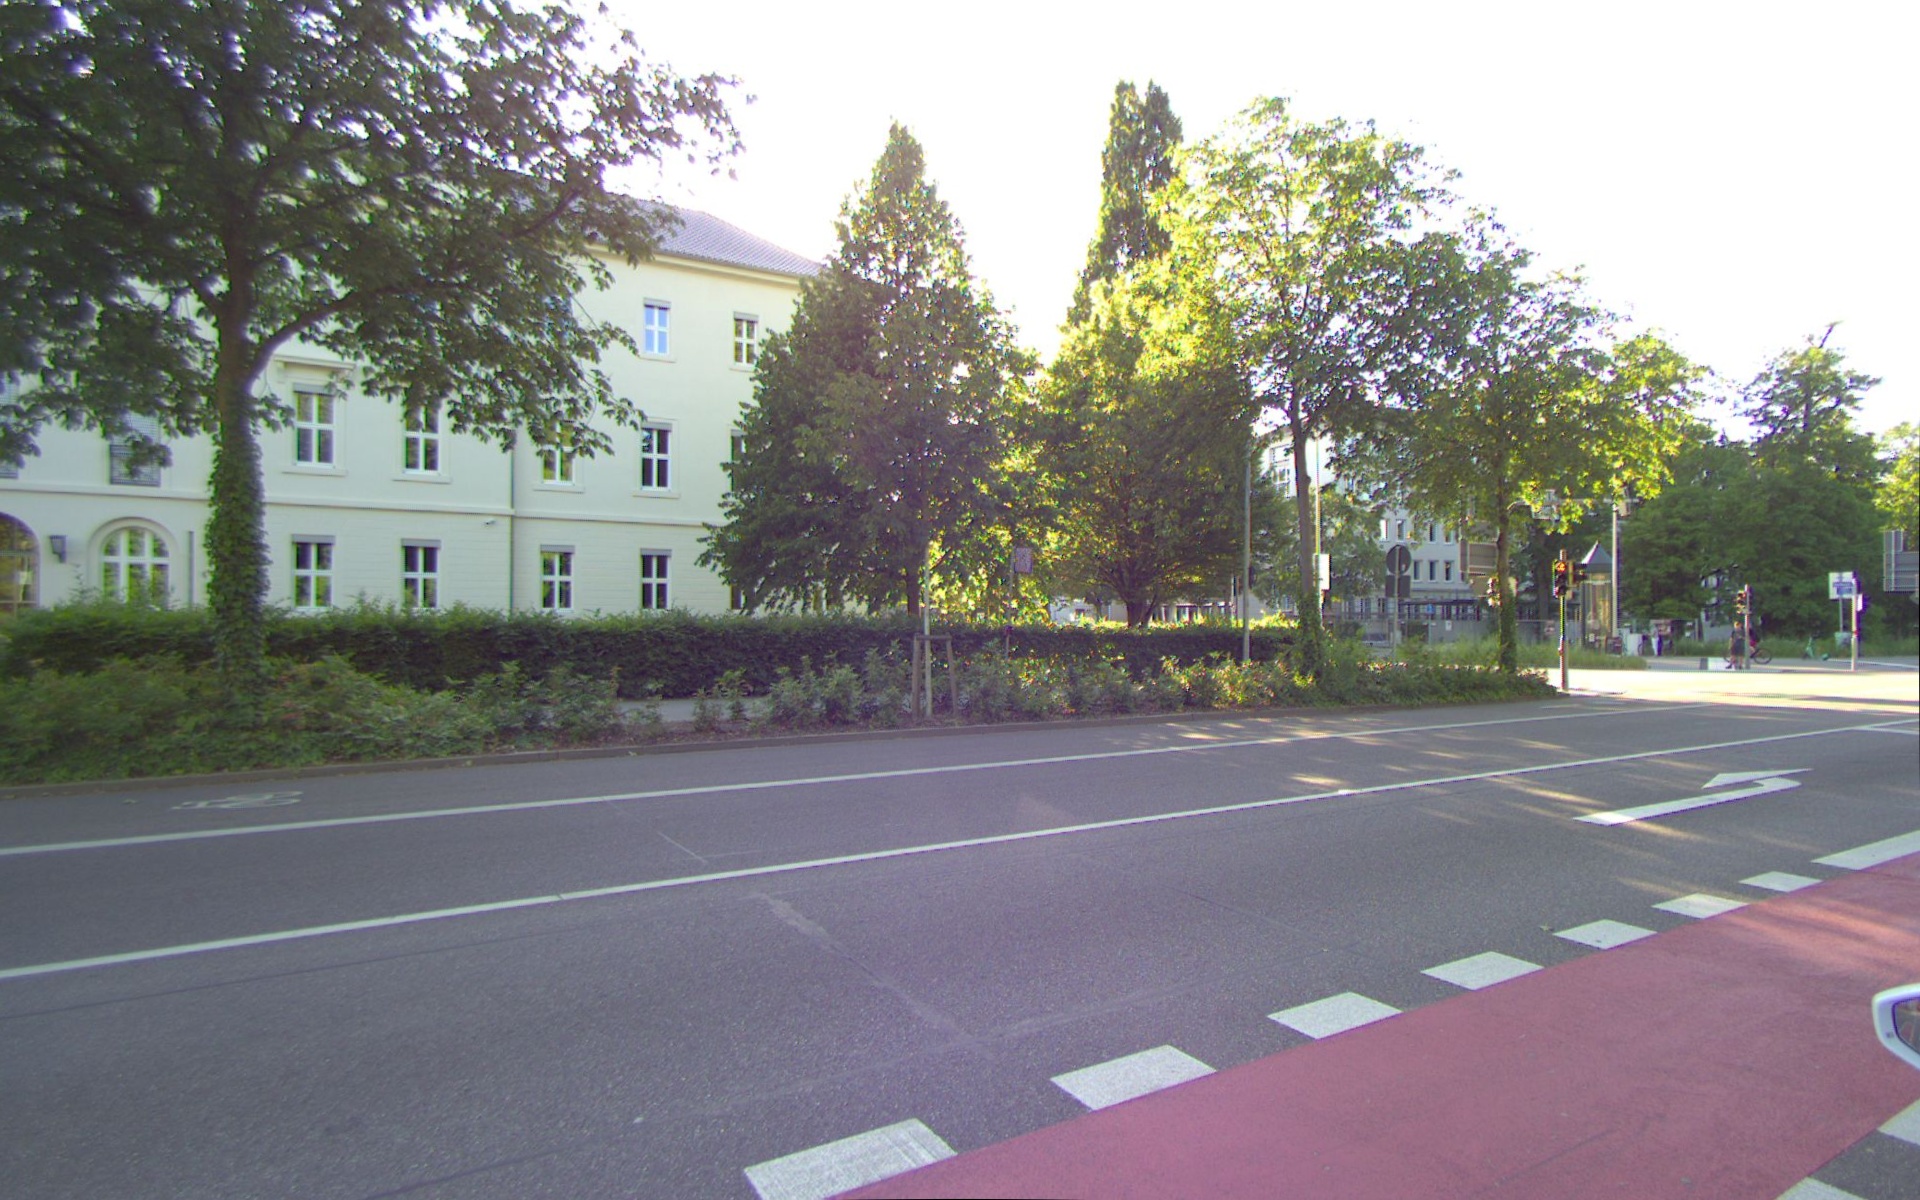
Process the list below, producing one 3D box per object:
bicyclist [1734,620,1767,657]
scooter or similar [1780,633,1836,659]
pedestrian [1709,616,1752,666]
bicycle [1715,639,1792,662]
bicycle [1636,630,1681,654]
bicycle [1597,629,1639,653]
[{"bbox_3d":[35.652,1.743,45.317,0.869,1.627,0.968,1,-2,-36],"label":"bicyclist"},{"bbox_3d":[39.322,2.129,46.578,1.882,1.139,0.713,1,0,8],"label":"scooter or similar"},{"bbox_3d":[32.122,1.713,41.893,1.175,2.040,0.992,1,0,-25],"label":"pedestrian"},{"bbox_3d":[35.706,2.246,45.241,0.575,1.002,2.688,1,-2,-35],"label":"bicycle"},{"bbox_3d":[35.055,2.109,50.455,0.288,1.163,1.849,1,0,-36],"label":"bicycle"},{"bbox_3d":[34.311,2.129,52.405,0.437,1.163,1.857,1,0,-24],"label":"bicycle"}]
